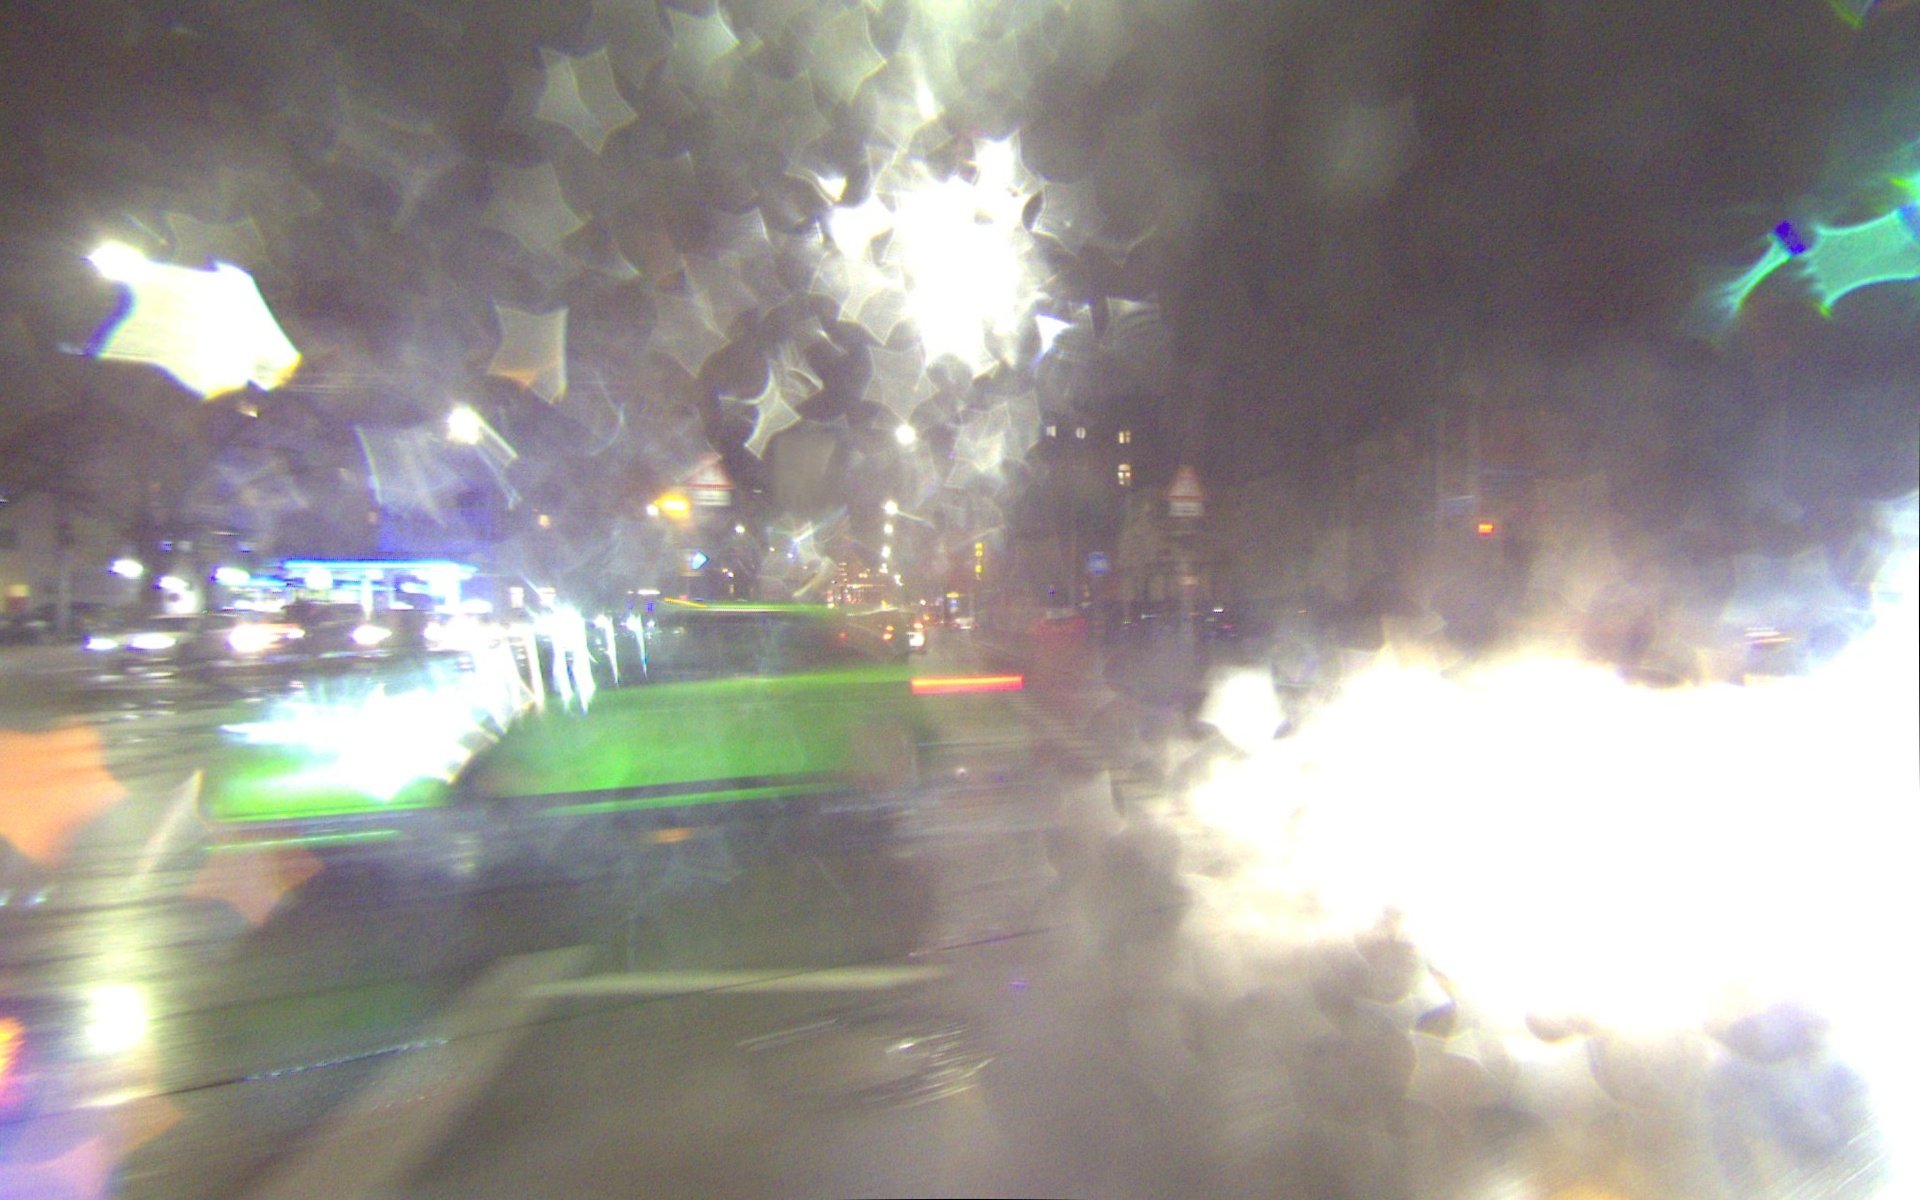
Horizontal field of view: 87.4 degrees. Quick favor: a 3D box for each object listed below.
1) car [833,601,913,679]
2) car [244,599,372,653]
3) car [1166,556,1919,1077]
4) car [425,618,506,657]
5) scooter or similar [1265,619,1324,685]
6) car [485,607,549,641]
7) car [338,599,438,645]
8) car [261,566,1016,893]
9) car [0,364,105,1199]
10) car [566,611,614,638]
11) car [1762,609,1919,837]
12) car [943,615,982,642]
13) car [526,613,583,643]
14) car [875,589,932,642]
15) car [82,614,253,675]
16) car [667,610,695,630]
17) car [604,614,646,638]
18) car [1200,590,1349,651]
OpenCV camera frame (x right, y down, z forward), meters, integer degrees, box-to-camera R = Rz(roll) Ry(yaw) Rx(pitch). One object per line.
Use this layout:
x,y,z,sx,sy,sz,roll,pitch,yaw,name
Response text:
-2.290,0.971,25.858,1.862,1.804,4.329,-1,-1,-6,car
-23.184,0.906,35.945,1.862,1.766,4.735,-1,-1,-6,car
3.043,0.662,4.769,3.959,1.583,1.661,0,0,-30,car
-24.072,1.771,49.106,1.861,1.766,4.737,-1,-1,-3,car
6.549,1.011,19.669,1.061,1.256,0.285,0,0,33,scooter or similar
-24.442,1.317,55.630,1.862,1.766,4.735,-1,-1,-6,car
-23.585,0.879,41.651,1.862,1.766,4.735,-1,-1,-6,car
-1.812,0.598,6.326,4.007,1.506,1.757,0,0,-27,car
-3.171,0.497,0.652,3.957,1.563,1.692,0,0,-41,car
-25.770,1.657,70.138,1.861,1.766,4.737,-1,-1,-3,car
7.856,0.788,7.469,4.049,1.439,1.660,0,0,-31,car
0.125,1.981,71.187,2.050,1.804,4.326,-1,-1,-9,car
-25.249,1.693,62.660,1.861,1.766,4.737,-1,-1,-3,car
-2.155,0.569,37.167,1.862,1.804,4.329,-1,-1,-6,car
-22.843,1.228,29.209,1.862,1.590,4.329,-1,-1,-6,car
-26.594,1.892,95.884,1.862,1.766,4.735,0,-1,-6,car
-26.034,2.011,78.200,1.861,1.766,4.737,-1,-1,-3,car
9.873,0.618,31.655,4.113,1.723,1.702,-2,0,-5,car
